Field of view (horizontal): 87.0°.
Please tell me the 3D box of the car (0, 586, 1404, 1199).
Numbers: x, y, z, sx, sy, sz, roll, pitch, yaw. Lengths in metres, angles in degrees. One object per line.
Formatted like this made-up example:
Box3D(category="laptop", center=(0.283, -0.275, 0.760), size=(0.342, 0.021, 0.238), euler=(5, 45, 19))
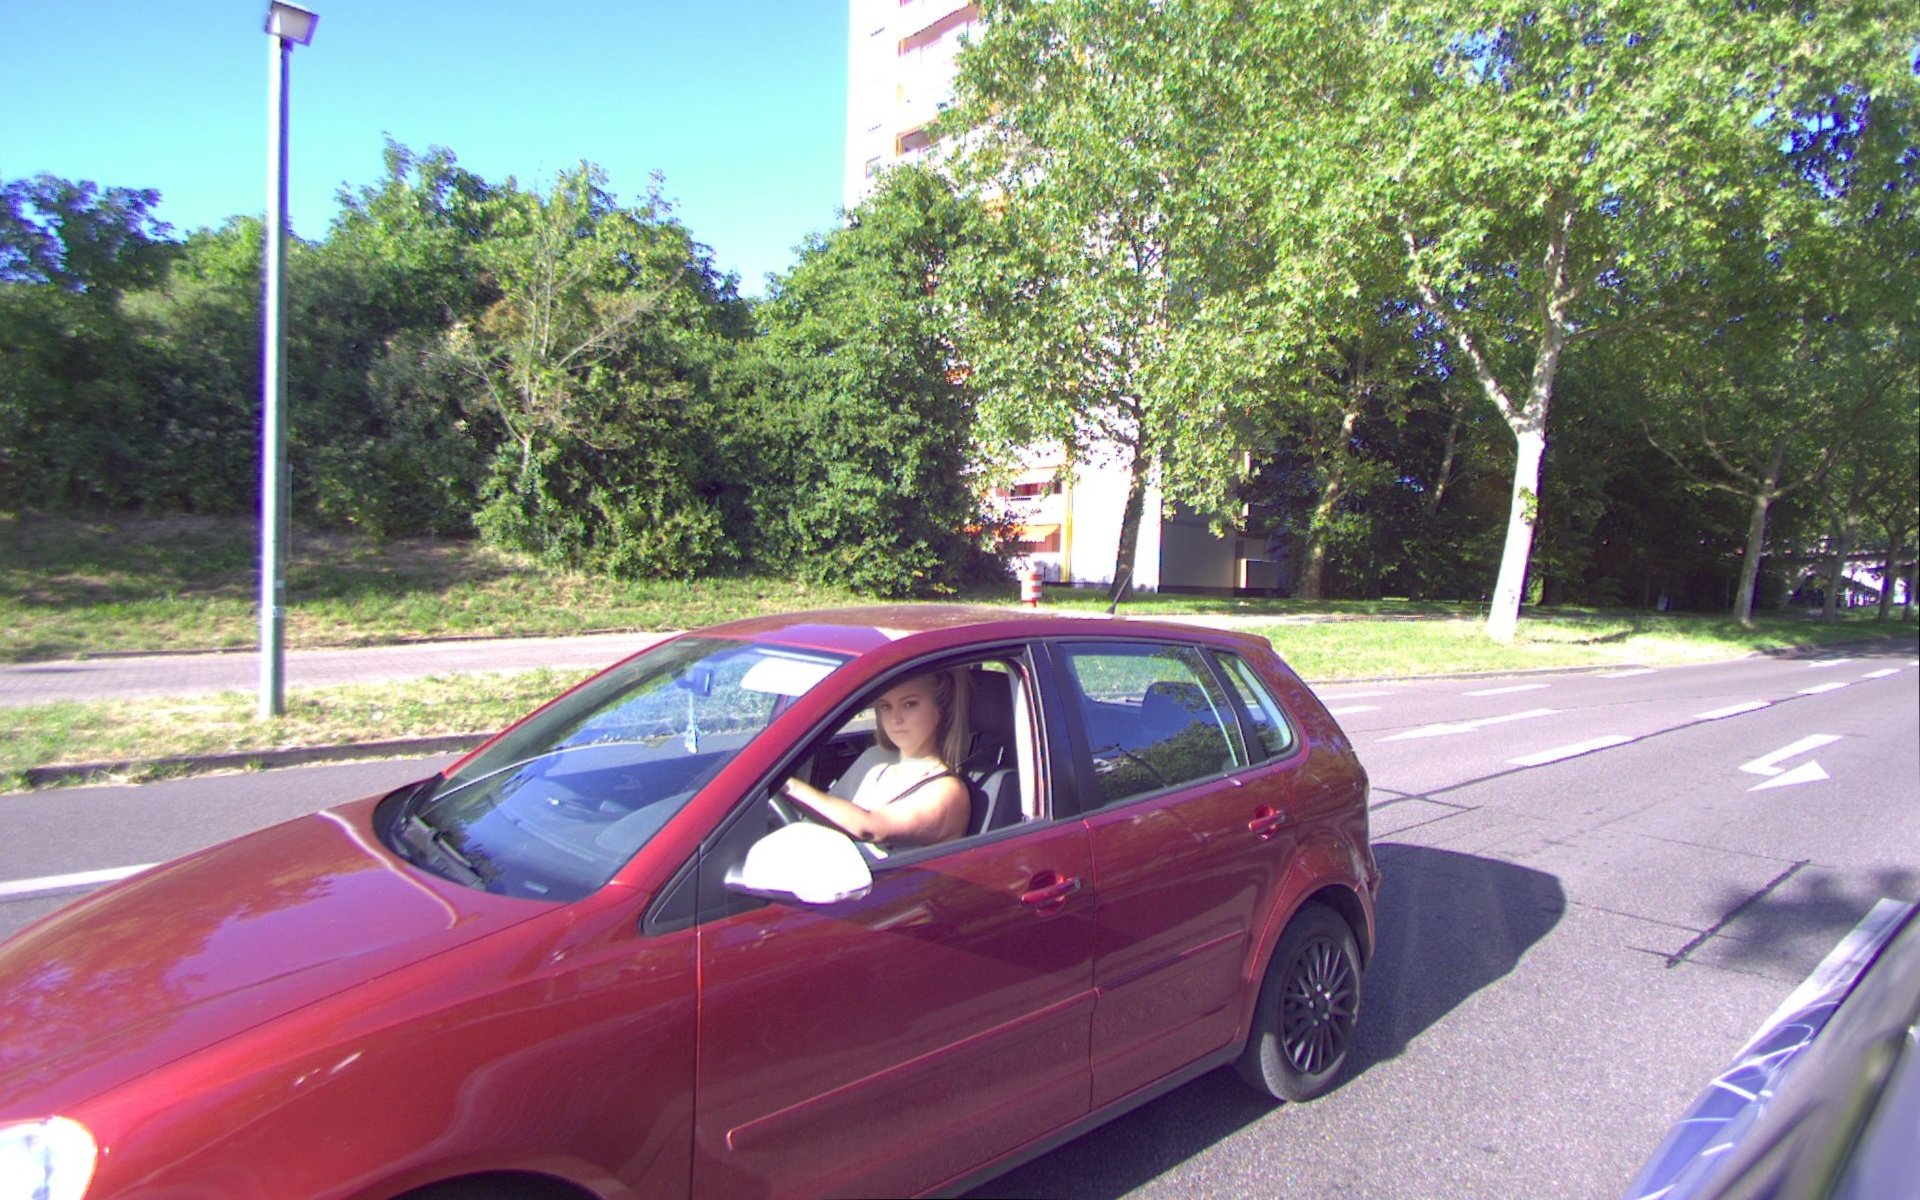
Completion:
Box3D(category="car", center=(-0.442, 0.710, 2.728), size=(3.624, 1.479, 1.579), euler=(-1, 0, -40))
